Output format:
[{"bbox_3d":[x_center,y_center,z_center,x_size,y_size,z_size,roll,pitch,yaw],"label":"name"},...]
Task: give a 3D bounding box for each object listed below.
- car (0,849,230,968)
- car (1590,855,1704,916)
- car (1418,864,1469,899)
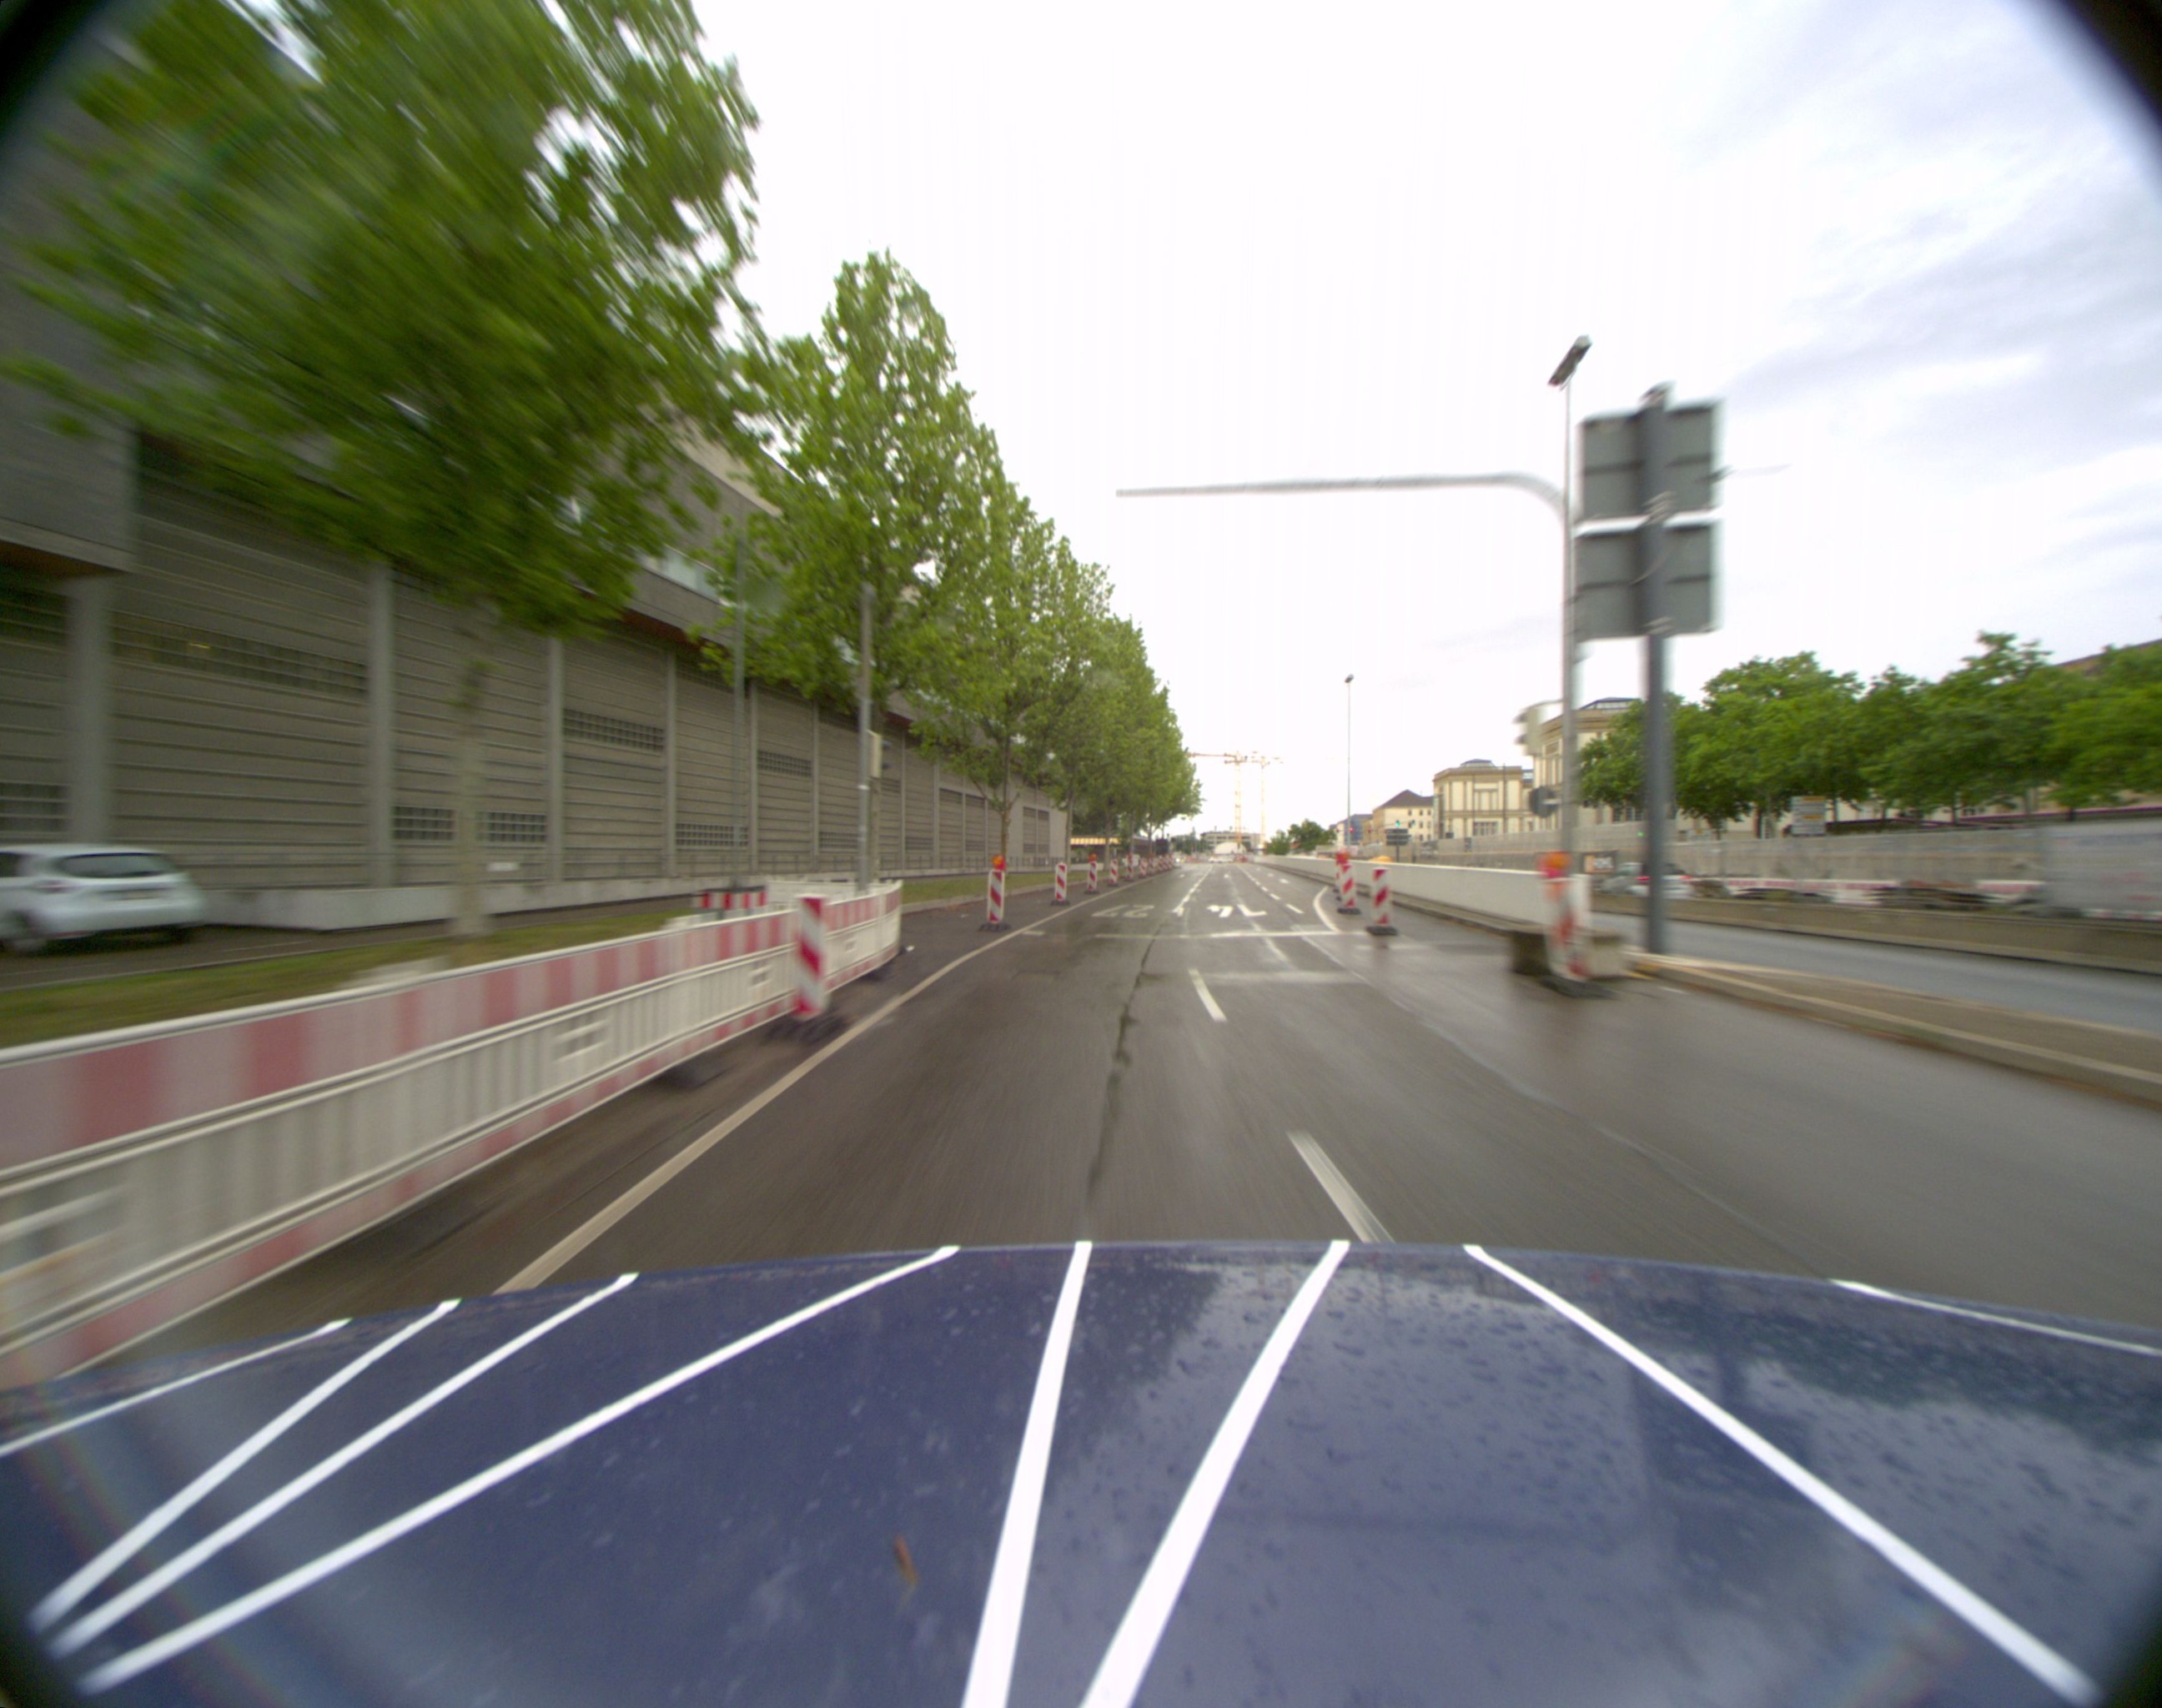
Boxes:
[{"bbox_3d":[-15.635,0.735,11.597,3.843,1.570,1.780,1,1,11],"label":"car"},{"bbox_3d":[19.068,1.001,25.776,1.703,1.857,3.359,1,1,9],"label":"car"},{"bbox_3d":[22.785,1.683,47.892,1.901,2.002,4.003,1,1,11],"label":"car"}]
